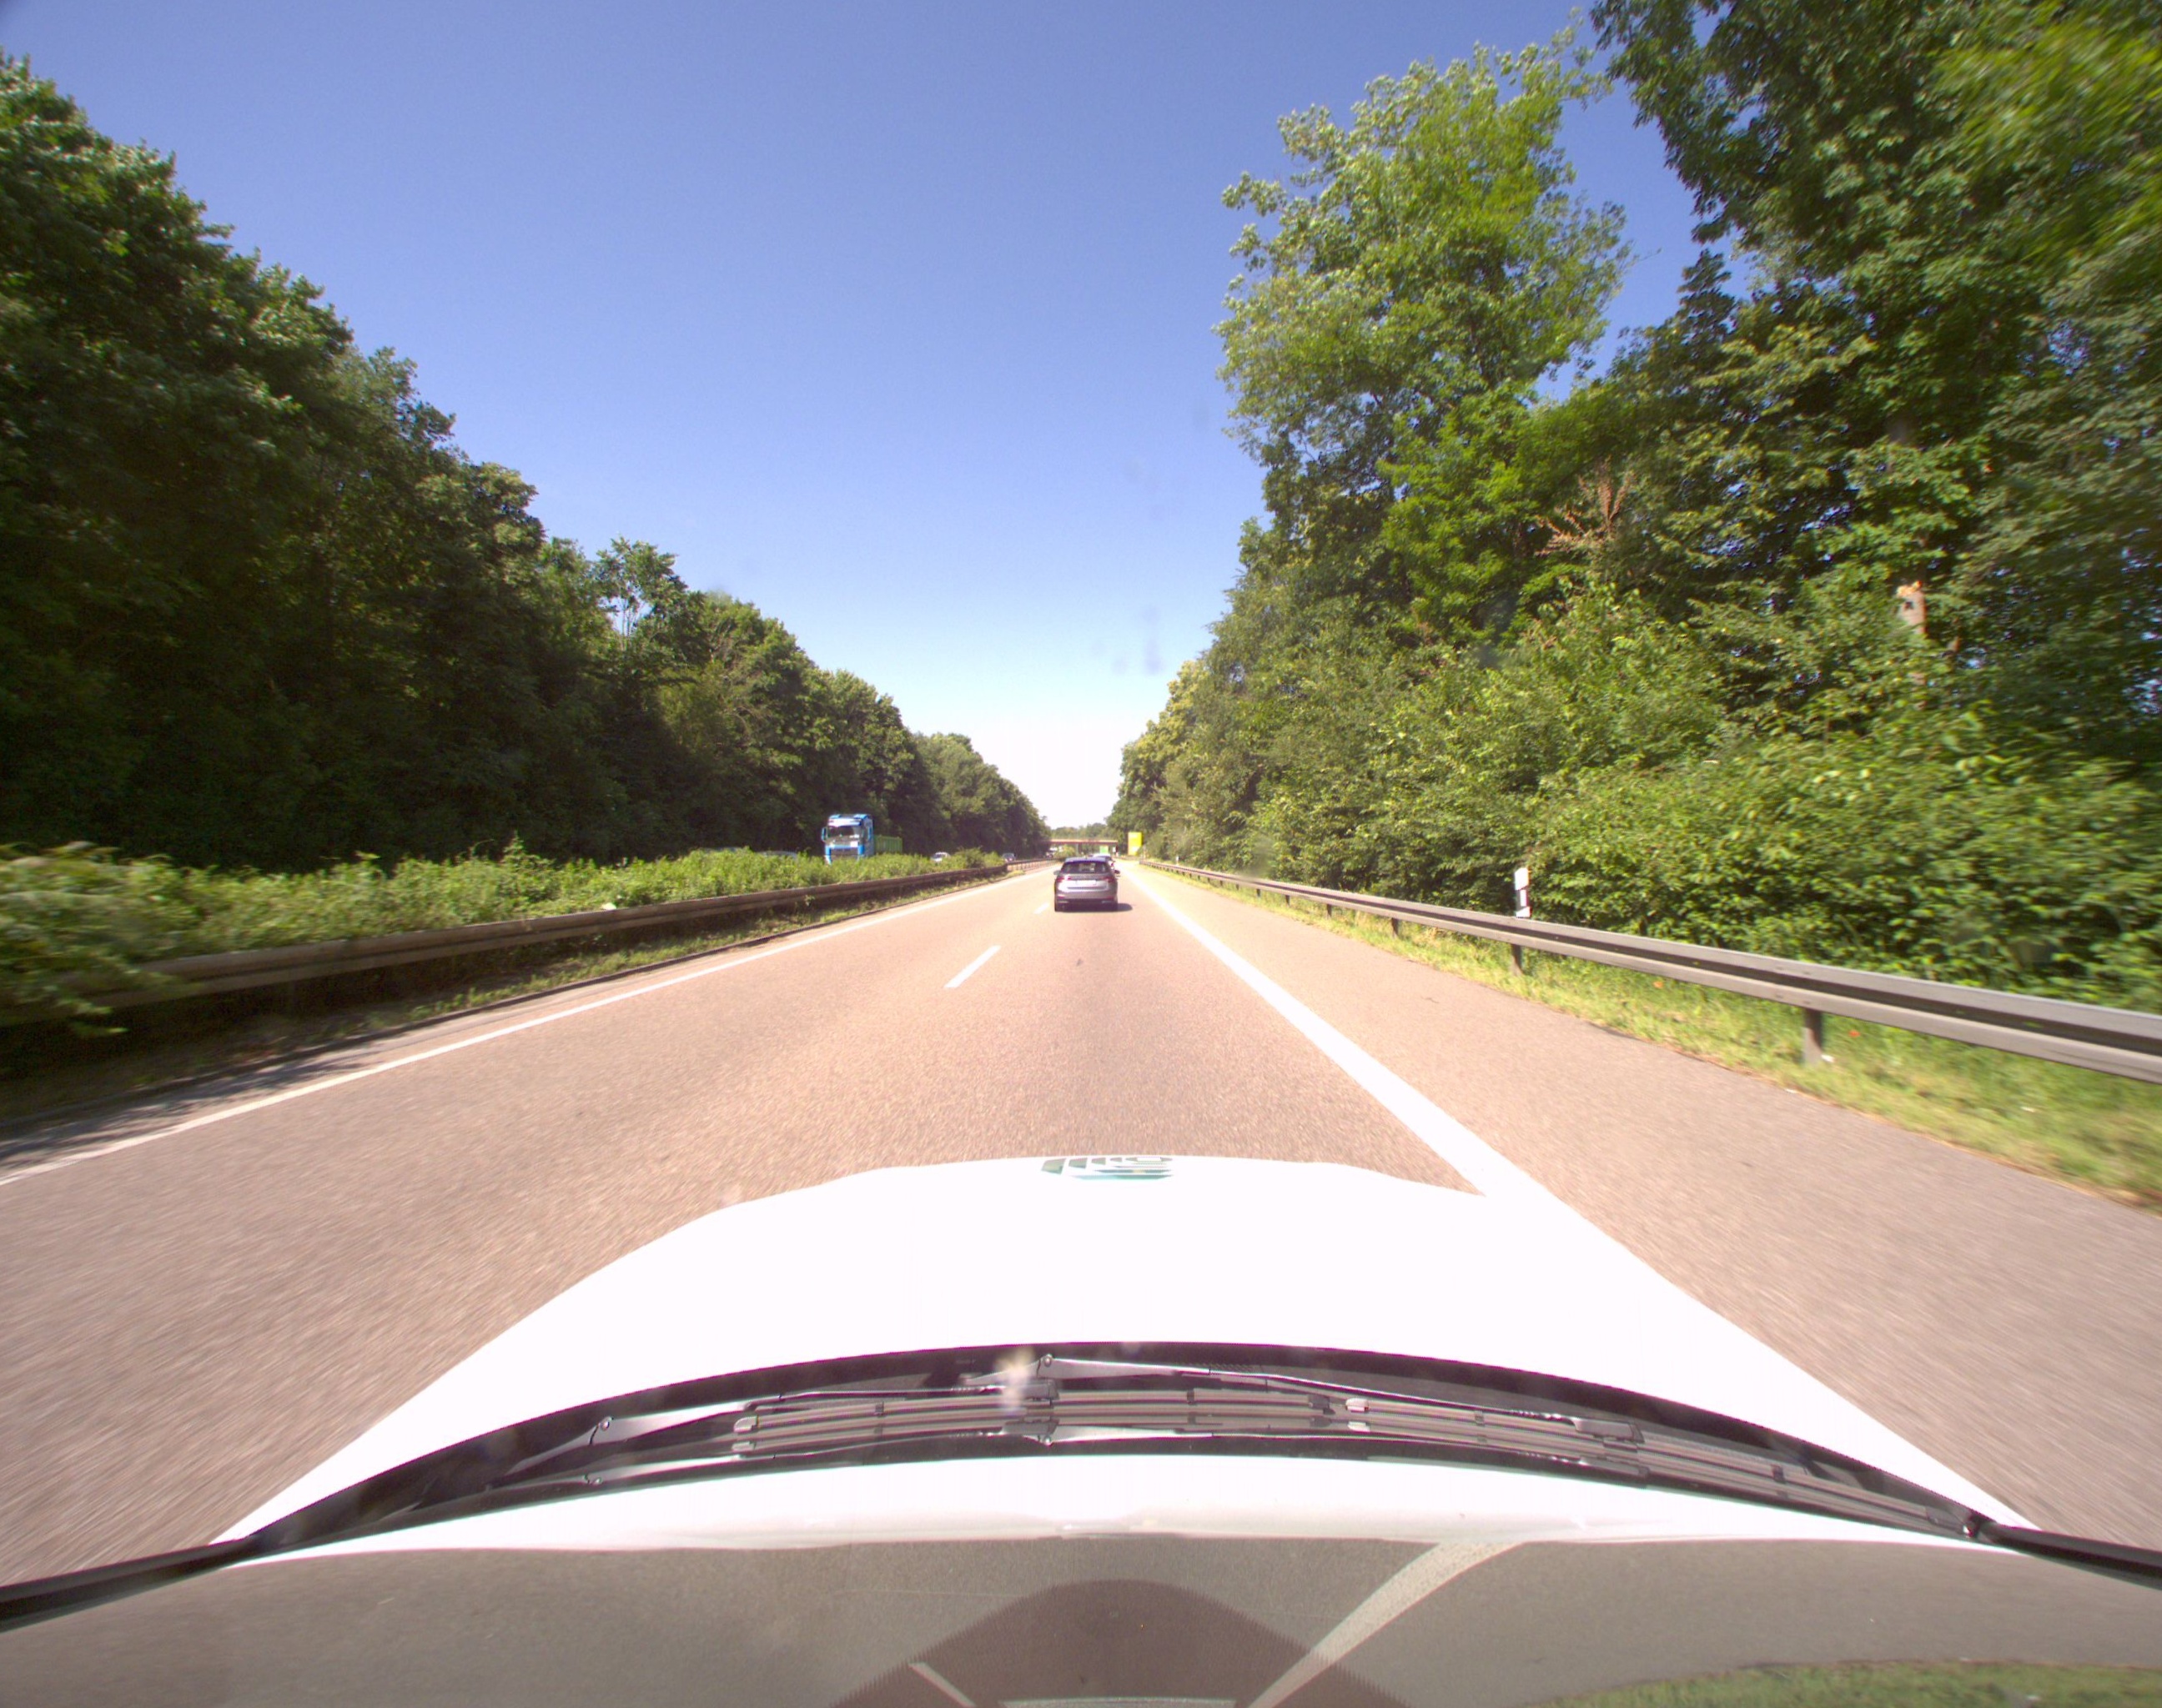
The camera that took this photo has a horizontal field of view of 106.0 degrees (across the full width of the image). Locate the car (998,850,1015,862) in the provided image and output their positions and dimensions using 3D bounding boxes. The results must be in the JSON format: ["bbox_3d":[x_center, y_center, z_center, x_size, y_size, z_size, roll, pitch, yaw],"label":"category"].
[{"bbox_3d":[-9.586,0.277,104.915,1.665,1.473,3.626,-1,0,3],"label":"car"}]

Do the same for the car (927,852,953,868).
[{"bbox_3d":[-13.610,0.550,78.865,1.665,1.473,3.626,-1,0,3],"label":"car"}]

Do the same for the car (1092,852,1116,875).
[{"bbox_3d":[1.614,0.629,55.607,1.516,1.446,3.343,-1,0,3],"label":"car"}]

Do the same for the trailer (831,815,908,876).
[{"bbox_3d":[-13.861,-0.507,54.046,2.678,3.712,7.988,-1,0,2],"label":"trailer"}]

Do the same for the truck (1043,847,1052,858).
[{"bbox_3d":[-10.537,-0.463,256.338,2.416,3.258,4.002,-1,0,2],"label":"truck"}]

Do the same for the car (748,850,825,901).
[{"bbox_3d":[-10.747,0.738,29.986,1.444,1.662,3.512,-2,1,1],"label":"car"}]

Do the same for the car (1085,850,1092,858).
[{"bbox_3d":[2.069,0.027,224.781,1.986,2.013,4.002,-1,0,2],"label":"car"}]

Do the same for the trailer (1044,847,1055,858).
[{"bbox_3d":[-10.231,-0.429,263.690,2.483,3.235,14.438,-1,0,2],"label":"trailer"}]

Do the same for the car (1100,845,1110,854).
[{"bbox_3d":[7.189,-1.208,242.789,2.738,2.654,4.002,-1,0,2],"label":"car"}]

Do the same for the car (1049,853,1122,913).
[{"bbox_3d":[0.199,0.745,22.708,1.832,1.472,3.627,-1,0,3],"label":"car"}]

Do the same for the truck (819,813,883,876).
[{"bbox_3d":[-13.991,-0.555,49.896,2.636,3.706,4.002,-1,0,2],"label":"truck"}]
